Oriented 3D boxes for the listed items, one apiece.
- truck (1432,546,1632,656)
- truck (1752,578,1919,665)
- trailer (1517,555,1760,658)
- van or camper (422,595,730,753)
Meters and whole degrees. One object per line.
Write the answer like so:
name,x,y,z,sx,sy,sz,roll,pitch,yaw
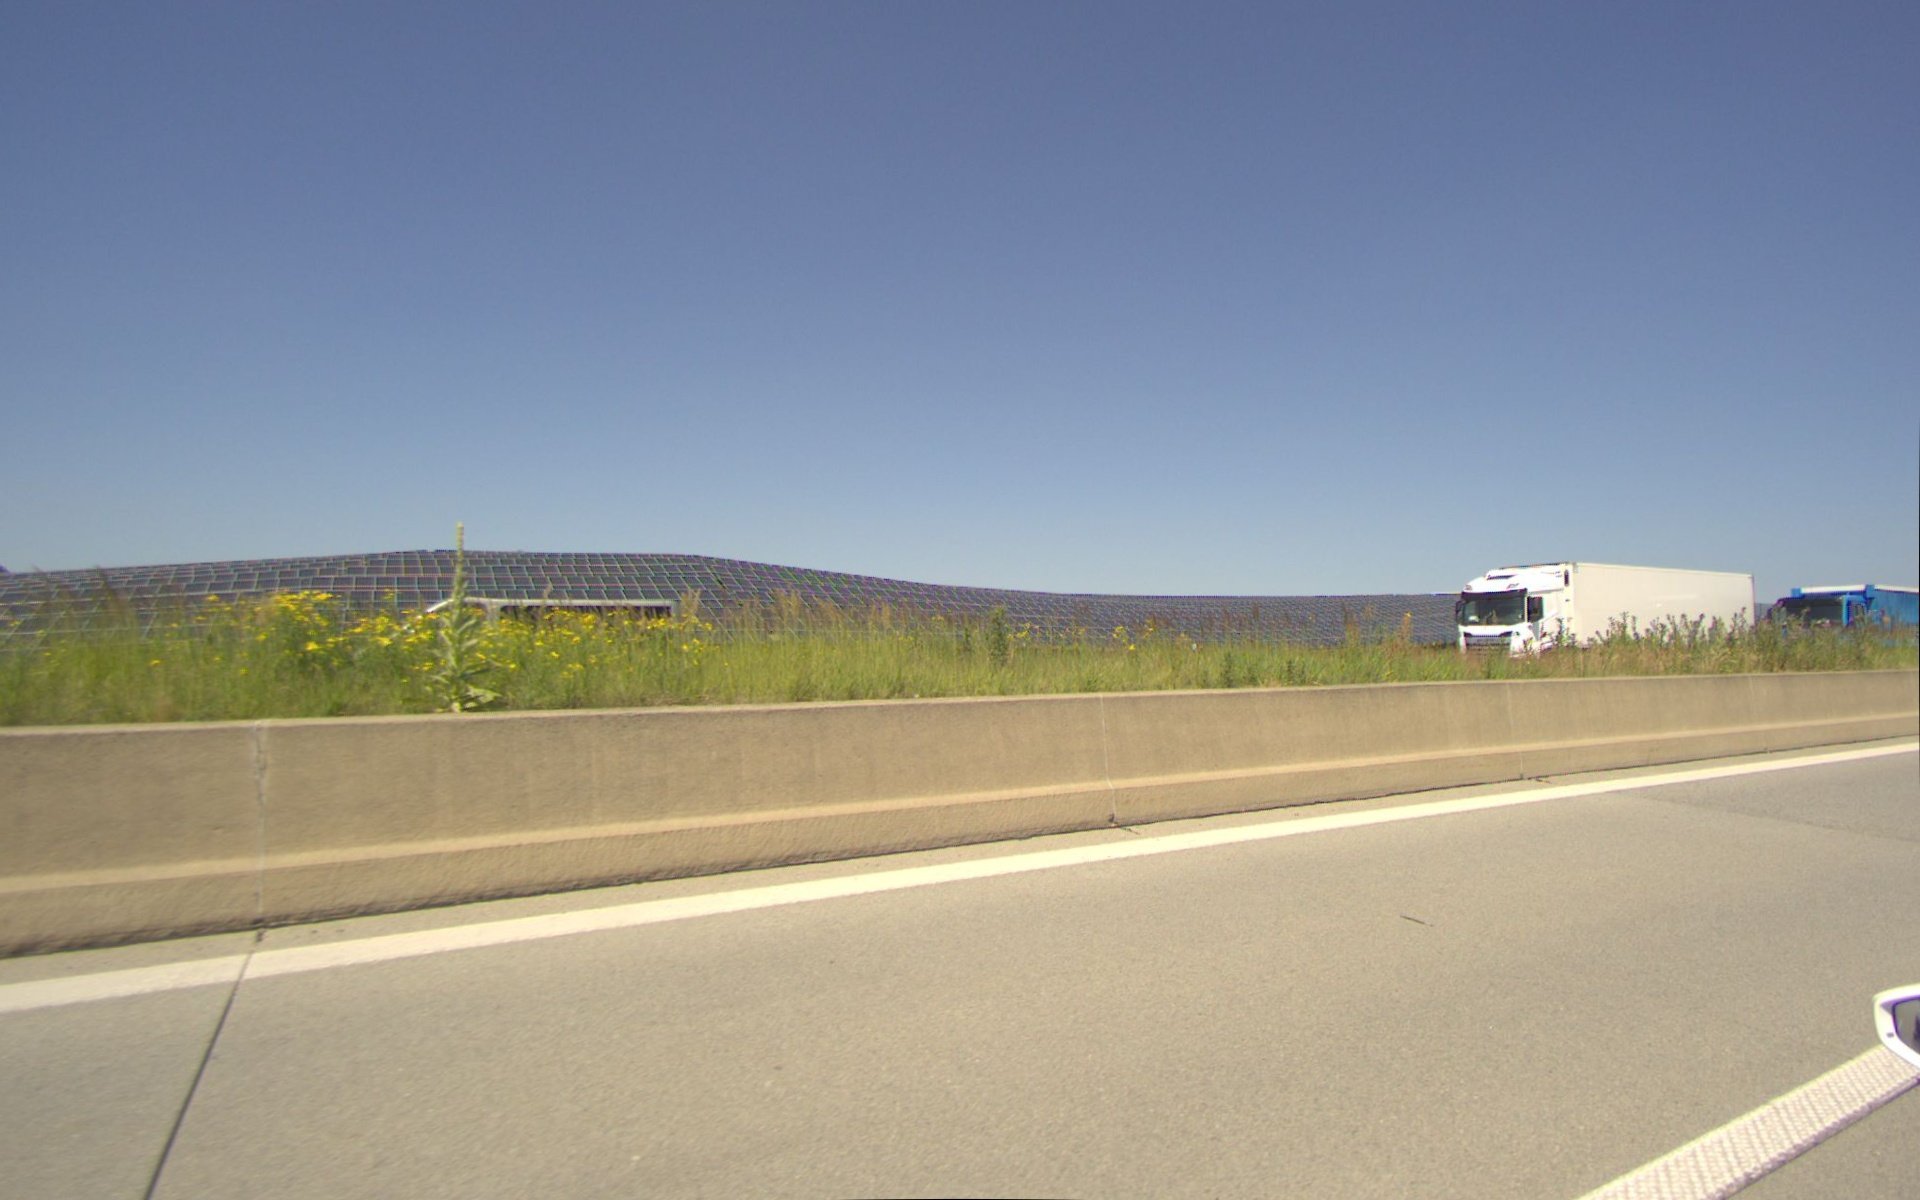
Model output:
truck,20.312,0.107,35.620,6.804,3.533,3.108,2,0,-30
truck,35.335,0.913,39.694,10.255,3.104,2.811,2,0,-31
trailer,26.732,0.389,39.285,11.625,3.571,3.060,2,0,-30
van or camper,-5.497,0.979,14.475,3.904,1.996,1.754,1,0,-30
